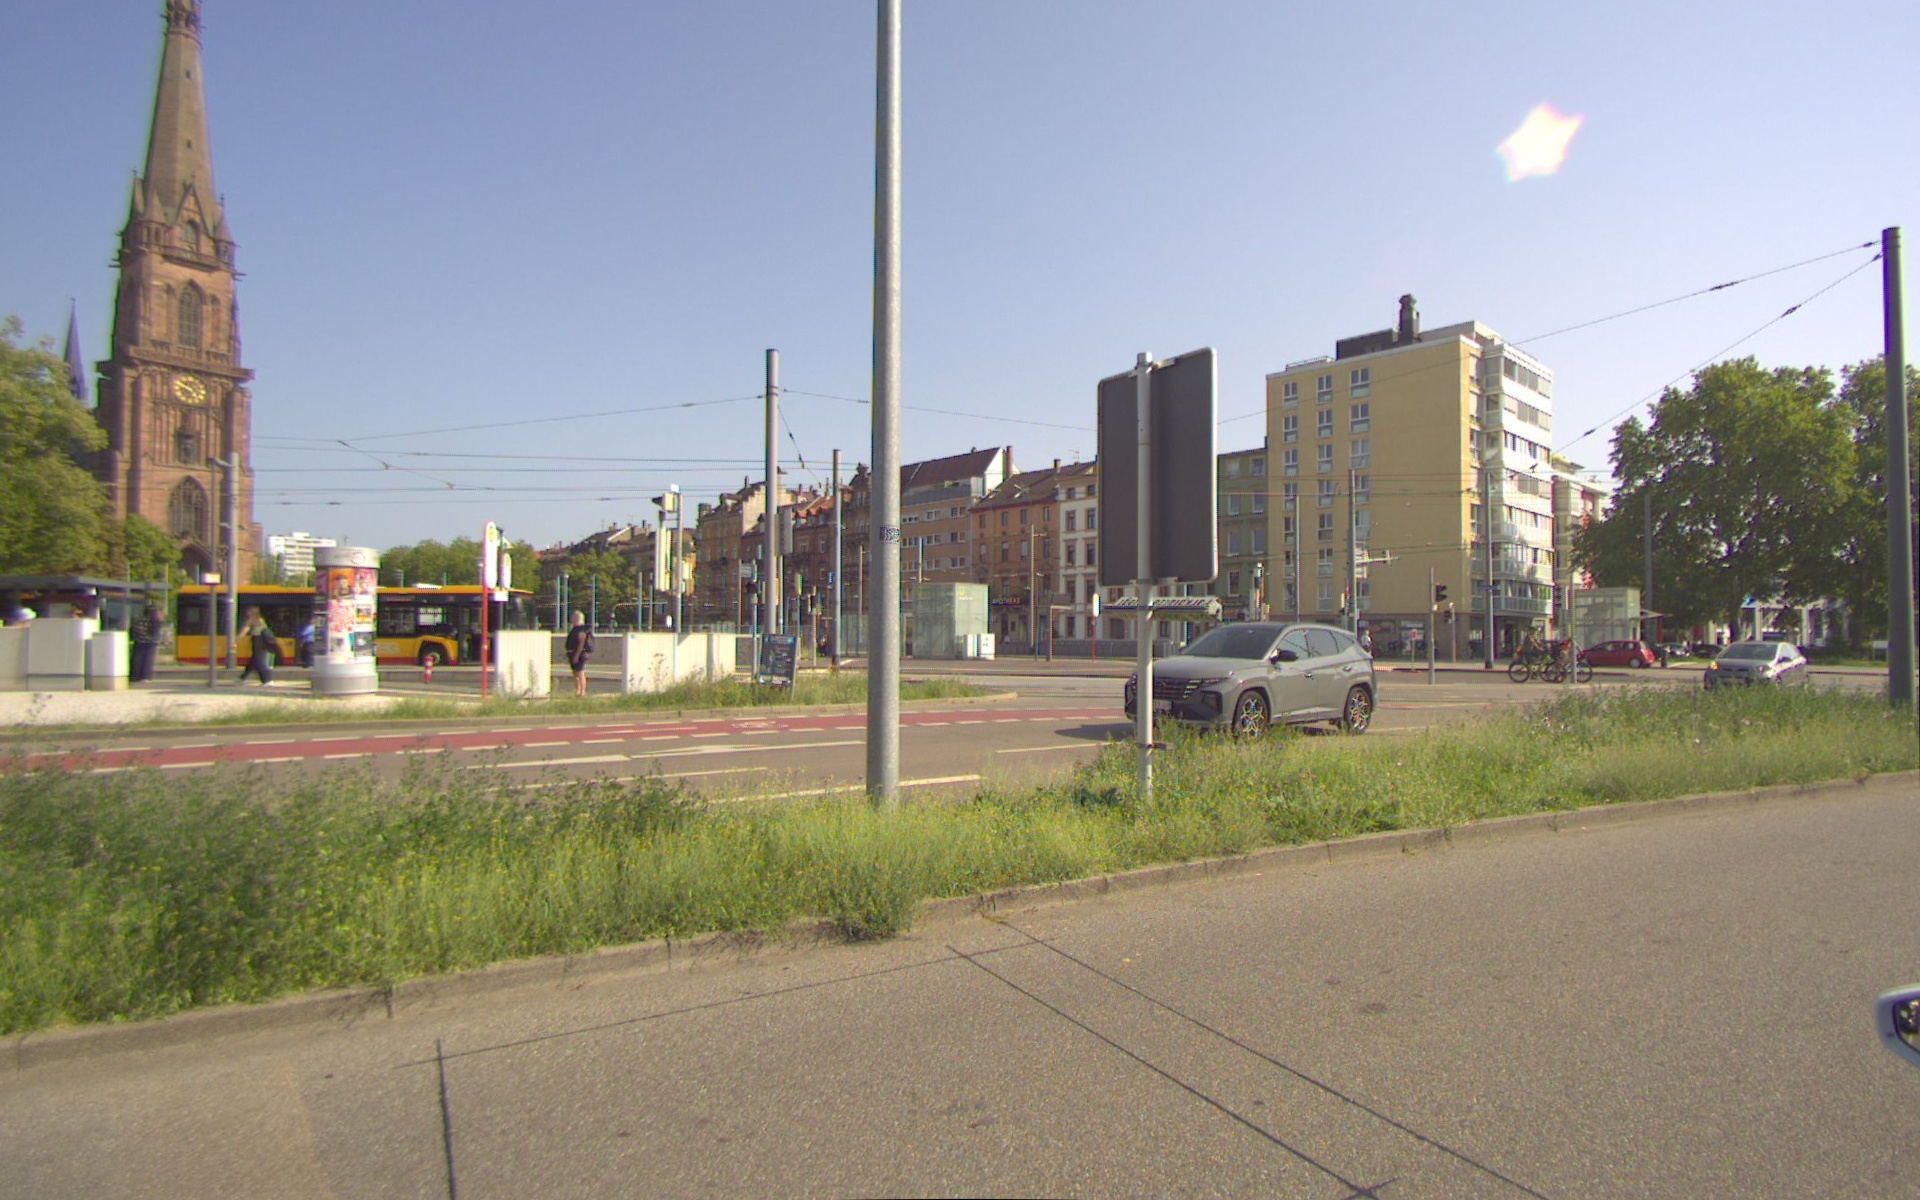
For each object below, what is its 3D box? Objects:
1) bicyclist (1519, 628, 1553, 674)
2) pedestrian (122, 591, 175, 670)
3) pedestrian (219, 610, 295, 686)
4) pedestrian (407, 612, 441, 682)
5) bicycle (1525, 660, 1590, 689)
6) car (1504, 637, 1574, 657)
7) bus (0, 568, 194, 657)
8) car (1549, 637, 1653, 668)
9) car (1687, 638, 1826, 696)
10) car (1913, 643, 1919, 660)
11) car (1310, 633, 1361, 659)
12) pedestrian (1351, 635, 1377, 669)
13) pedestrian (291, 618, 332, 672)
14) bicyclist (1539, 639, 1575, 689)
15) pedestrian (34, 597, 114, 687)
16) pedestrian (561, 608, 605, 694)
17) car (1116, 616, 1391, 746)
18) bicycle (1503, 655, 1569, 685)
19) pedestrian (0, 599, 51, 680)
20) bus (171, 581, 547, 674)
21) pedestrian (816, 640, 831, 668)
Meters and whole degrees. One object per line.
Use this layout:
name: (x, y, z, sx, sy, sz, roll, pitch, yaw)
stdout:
bicyclist: (19.586, 1.728, 34.186, 0.720, 1.547, 0.788, 1, -2, -38)
pedestrian: (-18.213, 0.686, 22.554, 0.859, 1.727, 0.979, 2, -2, -40)
pedestrian: (-14.889, 1.013, 21.294, 0.970, 1.579, 0.866, 0, -2, 8)
pedestrian: (-14.349, 1.250, 26.867, 0.694, 1.824, 0.773, 2, -2, -34)
bicycle: (20.710, 2.569, 34.834, 0.720, 0.944, 1.799, 2, -2, -38)
car: (41.192, 3.332, 71.481, 1.472, 1.372, 4.114, 2, -2, -45)
bus: (-35.238, 0.463, 36.300, 12.542, 3.017, 3.300, 0, -2, 1)
car: (33.709, 2.747, 52.891, 1.820, 1.555, 4.354, 2, -3, -45)
car: (21.819, 1.780, 27.501, 3.634, 1.471, 1.879, 2, -2, -32)
car: (87.925, 4.614, 89.417, 4.424, 1.542, 1.706, 1, -1, 5)
car: (25.768, 3.107, 69.076, 1.960, 1.700, 4.552, 1, -2, 2)
pedestrian: (20.539, 2.622, 51.047, 0.916, 1.712, 0.913, 2, -2, -44)
pedestrian: (-21.709, 1.499, 33.638, 0.820, 1.761, 0.830, 1, -2, -8)
bicyclist: (20.710, 2.208, 34.847, 0.720, 1.674, 0.874, 1, -2, -38)
pedestrian: (-18.098, 0.852, 20.536, 0.852, 1.793, 0.986, 1, -2, -18)
pedestrian: (-8.178, 1.095, 21.772, 0.694, 1.824, 0.773, 2, -2, -34)
car: (4.398, 1.106, 14.714, 4.424, 1.638, 1.680, 2, -3, -39)
bicycle: (19.579, 2.360, 34.177, 0.720, 0.944, 1.799, 2, -2, -38)
pedestrian: (-20.197, 0.843, 21.611, 0.859, 1.694, 0.979, 2, -2, -40)
bus: (-21.524, 1.011, 36.376, 11.972, 3.149, 2.717, 0, -2, 1)
pedestrian: (-8.881, 3.529, 65.539, 0.743, 1.806, 0.702, 1, -2, -30)
